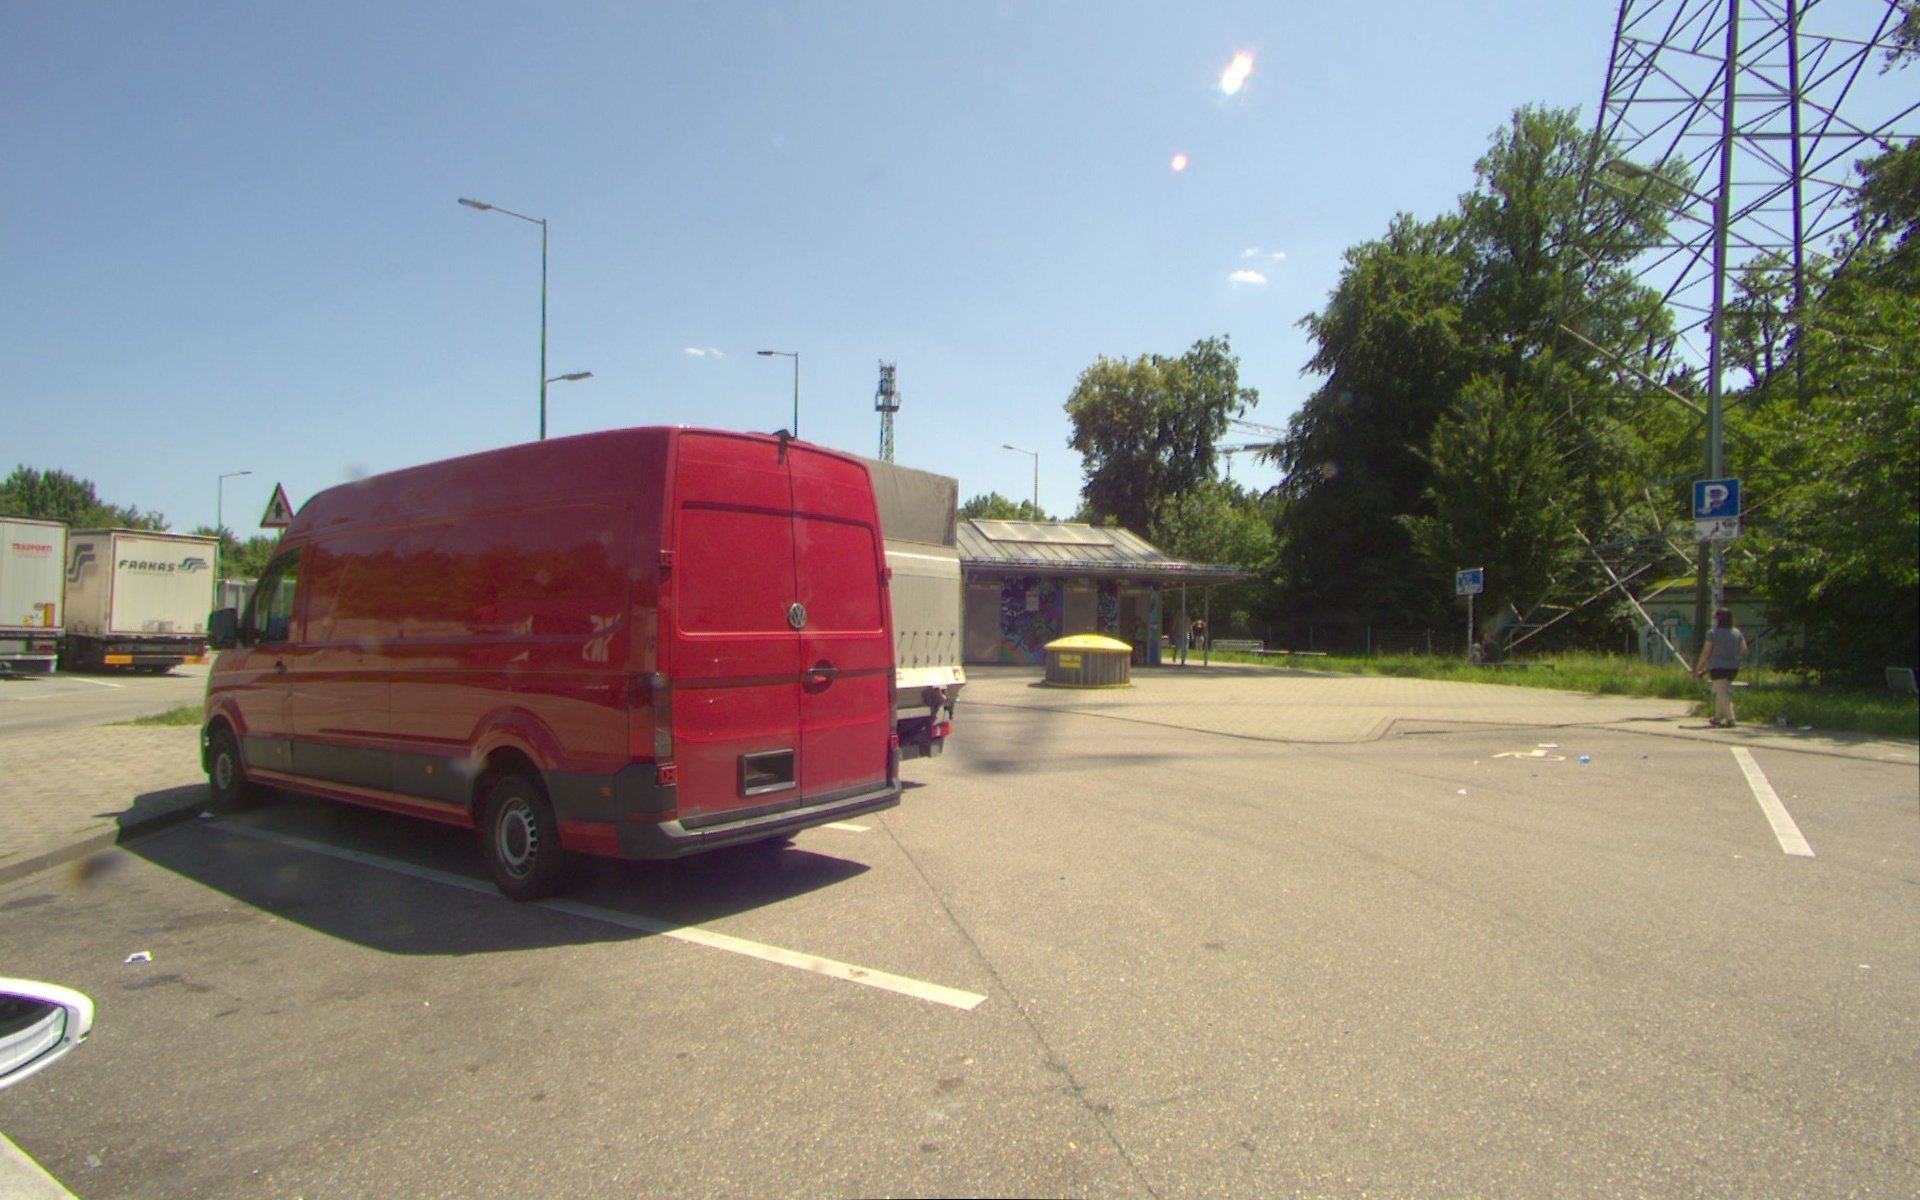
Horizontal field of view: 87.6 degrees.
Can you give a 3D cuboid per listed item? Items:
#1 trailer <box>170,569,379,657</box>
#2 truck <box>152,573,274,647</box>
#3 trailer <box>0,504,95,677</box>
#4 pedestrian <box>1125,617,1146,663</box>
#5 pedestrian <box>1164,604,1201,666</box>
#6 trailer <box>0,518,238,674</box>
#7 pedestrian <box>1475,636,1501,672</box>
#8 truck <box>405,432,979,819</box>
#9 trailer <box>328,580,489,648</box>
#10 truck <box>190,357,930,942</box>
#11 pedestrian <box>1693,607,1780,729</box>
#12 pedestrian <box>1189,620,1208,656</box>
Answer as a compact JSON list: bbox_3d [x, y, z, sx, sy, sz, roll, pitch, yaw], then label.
[{"bbox_3d":[-32.471,0.491,47.083,13.561,3.646,2.854,1,-2,32],"label":"trailer"},{"bbox_3d":[-37.543,0.482,50.306,5.887,3.406,2.862,1,-2,32],"label":"truck"},{"bbox_3d":[-28.679,-0.337,28.006,13.561,4.162,2.854,1,-2,32],"label":"trailer"},{"bbox_3d":[5.389,1.217,30.706,0.532,1.392,0.583,0,-1,0],"label":"pedestrian"},{"bbox_3d":[7.037,1.103,31.688,0.799,1.929,0.920,0,-1,-15],"label":"pedestrian"},{"bbox_3d":[-27.606,-0.164,31.594,13.561,4.162,2.854,1,-2,32],"label":"trailer"},{"bbox_3d":[14.652,1.494,27.808,0.439,0.987,0.460,0,-1,-19],"label":"pedestrian"},{"bbox_3d":[-3.076,0.275,10.510,6.372,2.944,2.411,-1,-2,37],"label":"truck"},{"bbox_3d":[-36.166,0.853,65.322,13.561,3.955,2.854,1,-2,32],"label":"trailer"},{"bbox_3d":[-3.326,0.303,7.326,6.372,2.685,2.005,-1,-2,37],"label":"truck"},{"bbox_3d":[10.916,0.946,14.094,0.674,1.670,0.715,0,-1,7],"label":"pedestrian"},{"bbox_3d":[10.955,1.726,46.034,0.798,1.639,0.921,0,-1,10],"label":"pedestrian"}]
